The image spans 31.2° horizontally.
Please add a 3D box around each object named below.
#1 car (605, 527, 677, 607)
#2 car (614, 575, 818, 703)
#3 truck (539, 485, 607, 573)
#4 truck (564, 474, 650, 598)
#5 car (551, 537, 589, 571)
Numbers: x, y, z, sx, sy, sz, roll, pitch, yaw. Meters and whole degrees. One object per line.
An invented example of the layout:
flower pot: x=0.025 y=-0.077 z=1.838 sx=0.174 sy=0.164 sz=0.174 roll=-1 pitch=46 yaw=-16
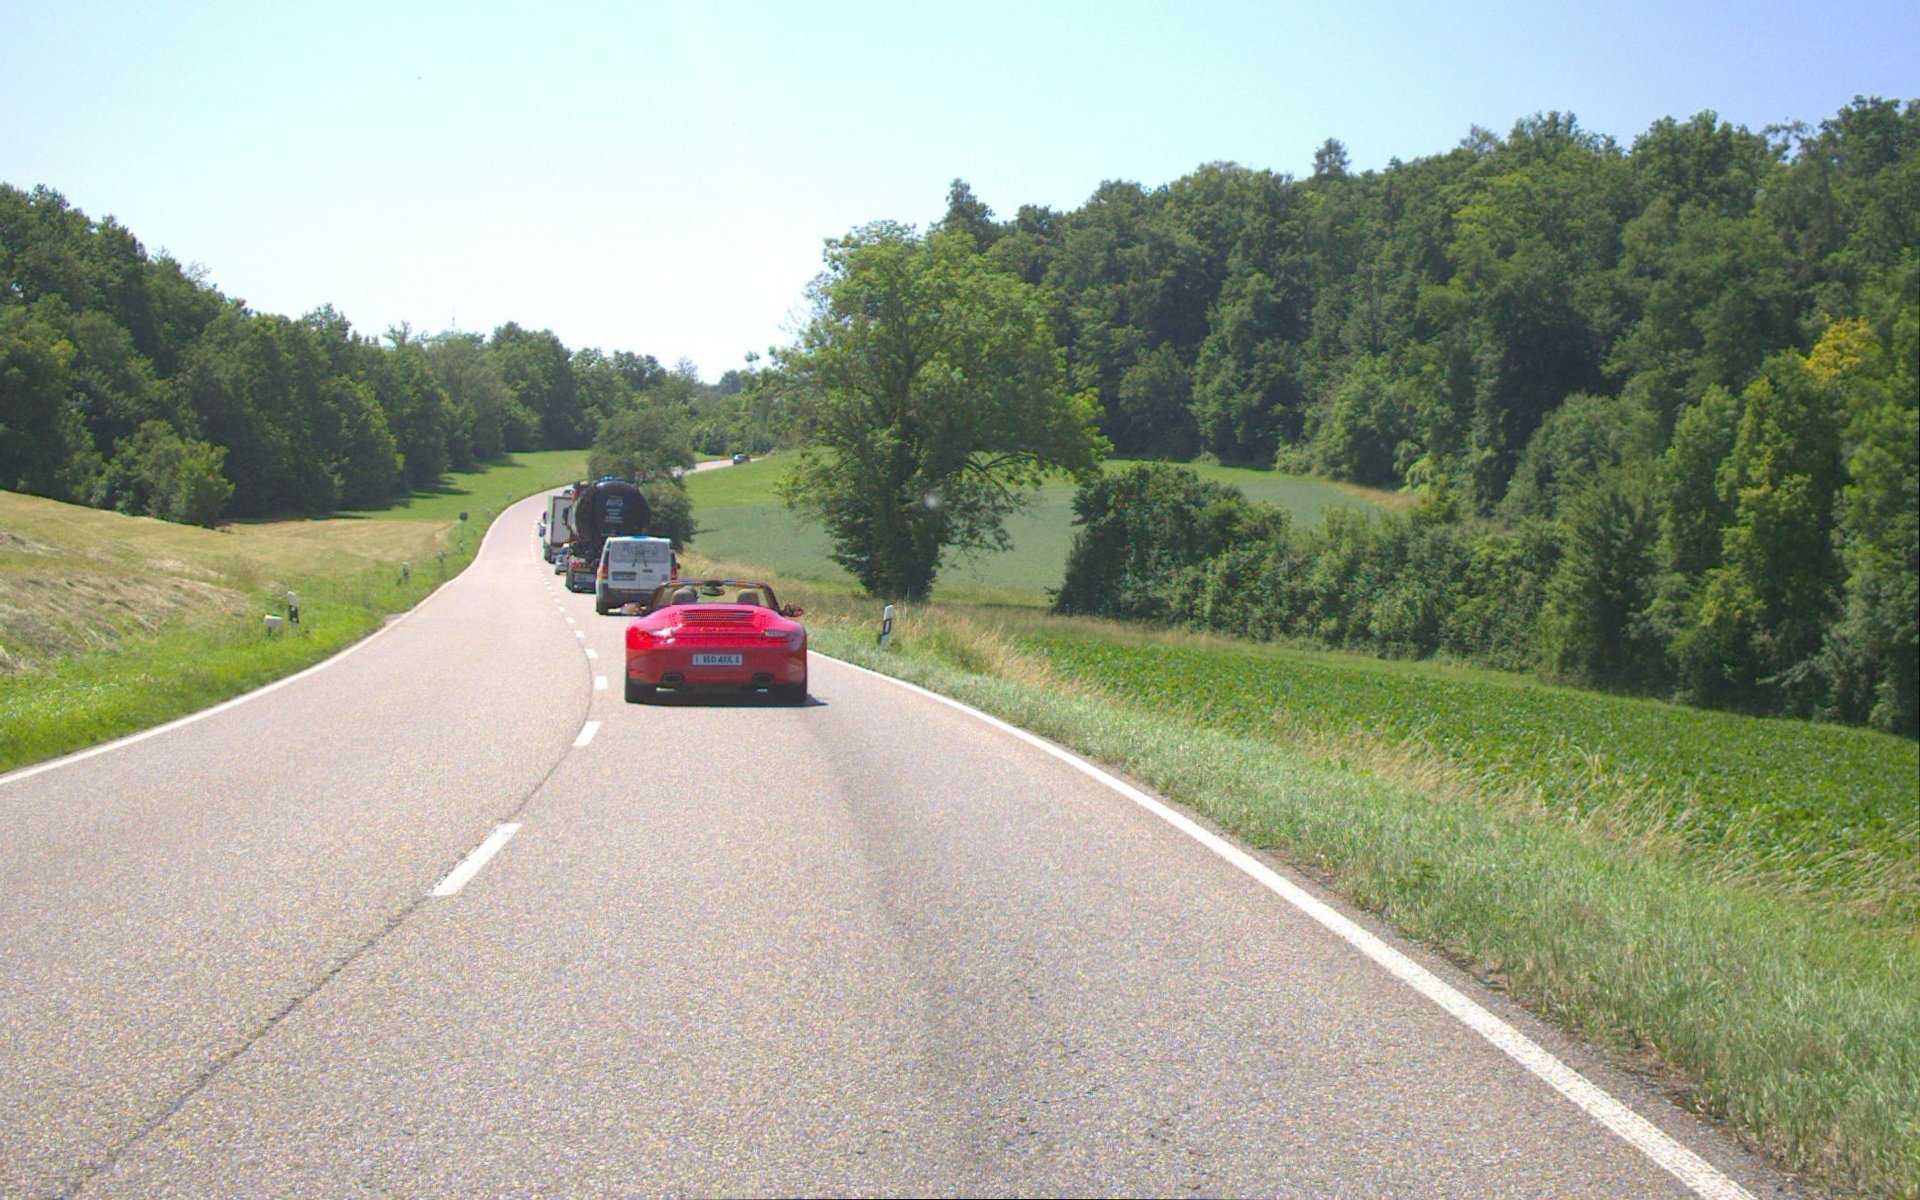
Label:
car: x=-7.795 y=-0.825 z=84.219 sx=1.678 sy=1.894 sz=4.010 roll=1 pitch=1 yaw=-5
car: x=-2.508 y=0.375 z=36.152 sx=1.882 sy=1.251 sz=4.009 roll=1 pitch=0 yaw=-1
truck: x=-23.271 y=-4.329 z=206.112 sx=3.724 sy=4.644 sz=12.036 roll=1 pitch=3 yaw=-8
truck: x=-12.455 y=-2.359 z=120.562 sx=2.403 sy=4.035 sz=12.554 roll=1 pitch=2 yaw=-8
car: x=-18.910 y=-2.249 z=166.582 sx=1.722 sy=1.579 sz=4.161 roll=1 pitch=1 yaw=-7
